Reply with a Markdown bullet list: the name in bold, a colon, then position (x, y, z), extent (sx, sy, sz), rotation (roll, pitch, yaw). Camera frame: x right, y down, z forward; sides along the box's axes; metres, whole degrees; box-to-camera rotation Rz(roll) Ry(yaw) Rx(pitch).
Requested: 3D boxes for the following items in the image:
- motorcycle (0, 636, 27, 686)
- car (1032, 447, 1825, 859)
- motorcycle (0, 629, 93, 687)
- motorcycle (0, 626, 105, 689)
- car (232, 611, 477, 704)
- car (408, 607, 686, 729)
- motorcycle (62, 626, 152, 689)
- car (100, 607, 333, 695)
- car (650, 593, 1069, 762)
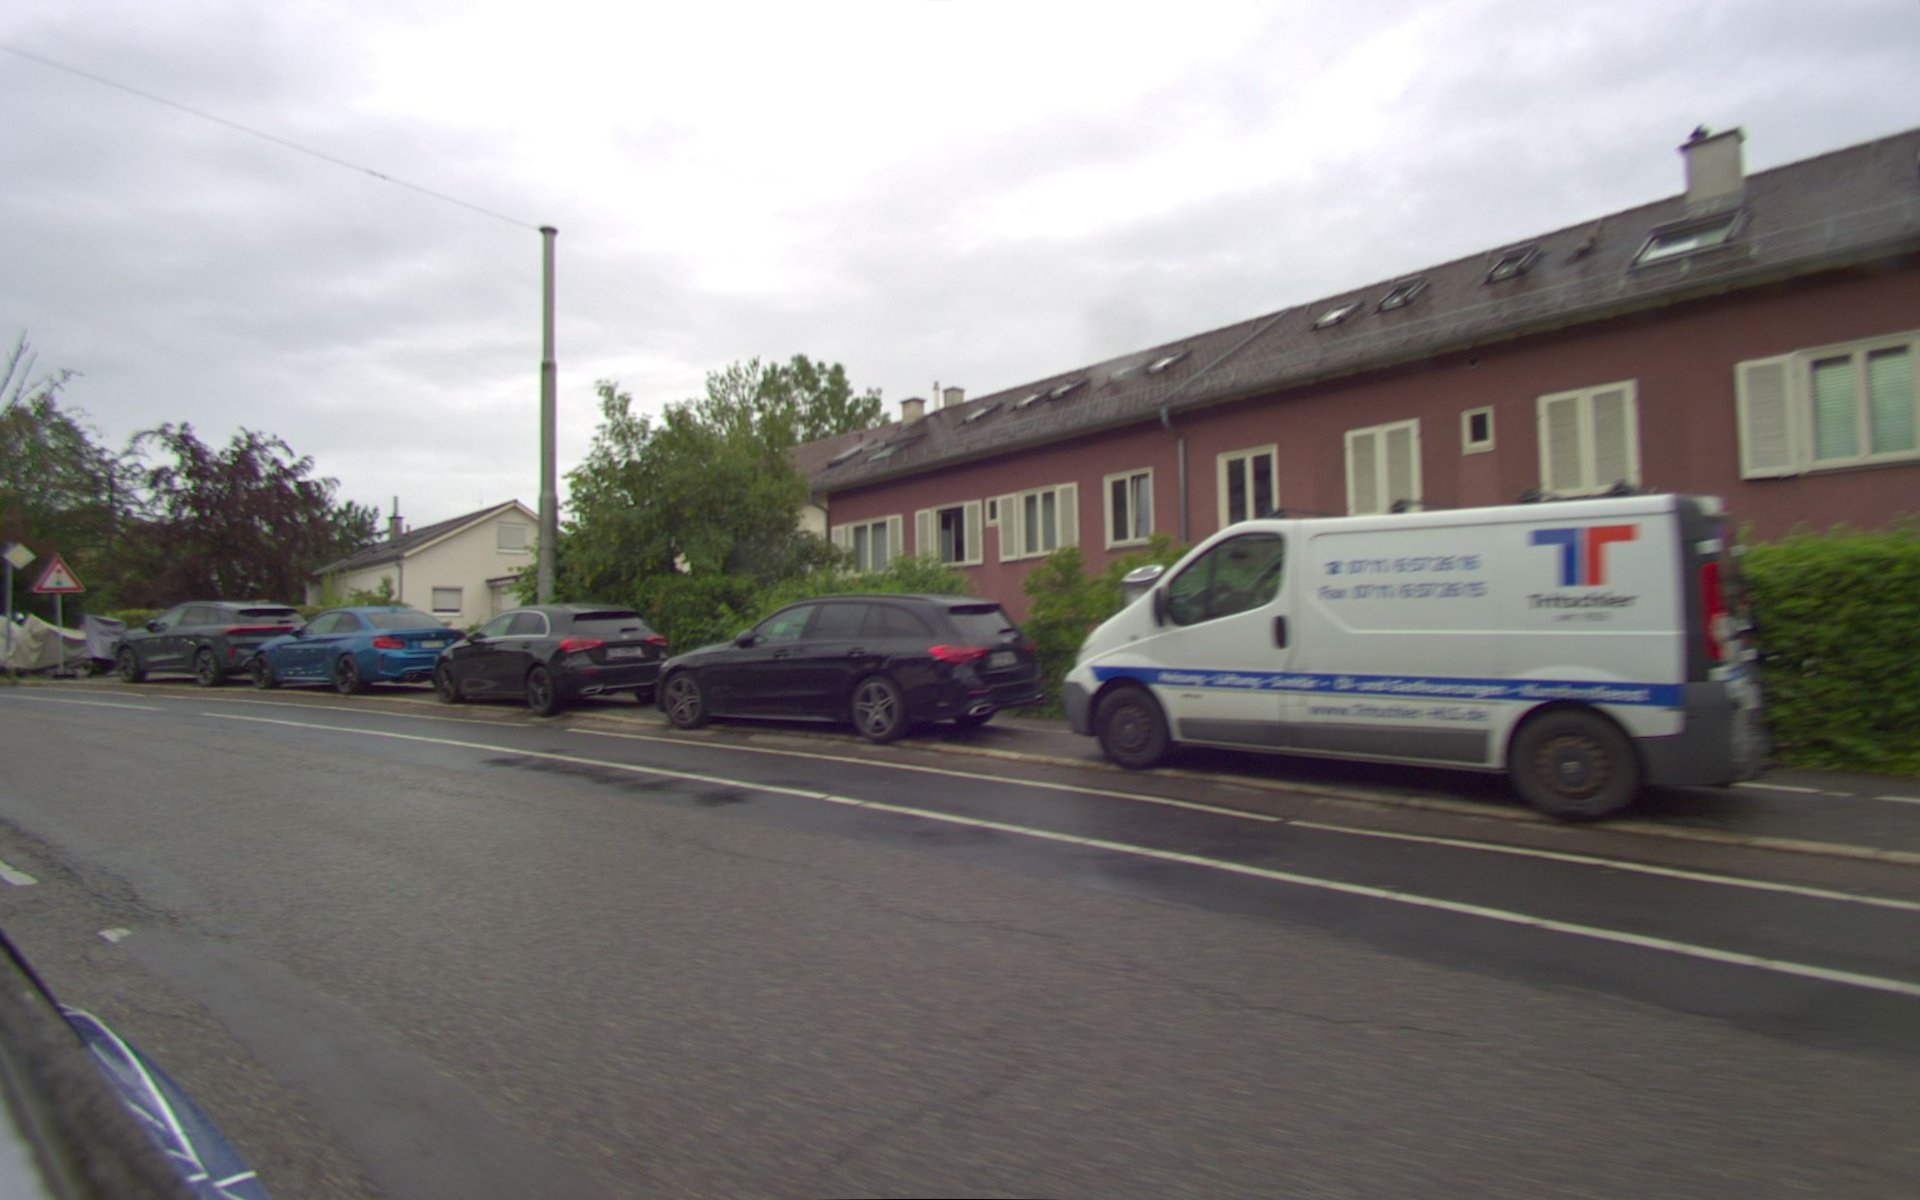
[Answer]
- **motorcycle**: position (-22.748, 1.431, 23.872), extent (1.915, 1.149, 0.506), rotation (-2, -5, 31)
- **car**: position (3.080, 0.310, 7.506), extent (5.019, 2.095, 1.828), rotation (-1, -1, 42)
- **motorcycle**: position (-21.171, 1.314, 23.282), extent (0.508, 1.289, 1.793), rotation (-1, -2, 23)
- **motorcycle**: position (-20.098, 1.242, 22.378), extent (1.778, 1.313, 0.614), rotation (0, -1, -38)
- **car**: position (-10.446, 0.945, 17.385), extent (4.455, 1.415, 1.687), rotation (-2, -1, 30)
- **car**: position (-6.026, 0.871, 14.502), extent (4.518, 1.488, 1.790), rotation (-1, -1, 40)
- **motorcycle**: position (-18.633, 1.223, 22.150), extent (0.566, 1.281, 1.910), rotation (-1, -1, -7)
- **car**: position (-14.735, 0.963, 20.033), extent (4.363, 1.589, 1.911), rotation (-1, -1, 26)
- **car**: position (-1.226, 0.719, 10.964), extent (4.514, 1.488, 1.791), rotation (-1, -1, 37)
